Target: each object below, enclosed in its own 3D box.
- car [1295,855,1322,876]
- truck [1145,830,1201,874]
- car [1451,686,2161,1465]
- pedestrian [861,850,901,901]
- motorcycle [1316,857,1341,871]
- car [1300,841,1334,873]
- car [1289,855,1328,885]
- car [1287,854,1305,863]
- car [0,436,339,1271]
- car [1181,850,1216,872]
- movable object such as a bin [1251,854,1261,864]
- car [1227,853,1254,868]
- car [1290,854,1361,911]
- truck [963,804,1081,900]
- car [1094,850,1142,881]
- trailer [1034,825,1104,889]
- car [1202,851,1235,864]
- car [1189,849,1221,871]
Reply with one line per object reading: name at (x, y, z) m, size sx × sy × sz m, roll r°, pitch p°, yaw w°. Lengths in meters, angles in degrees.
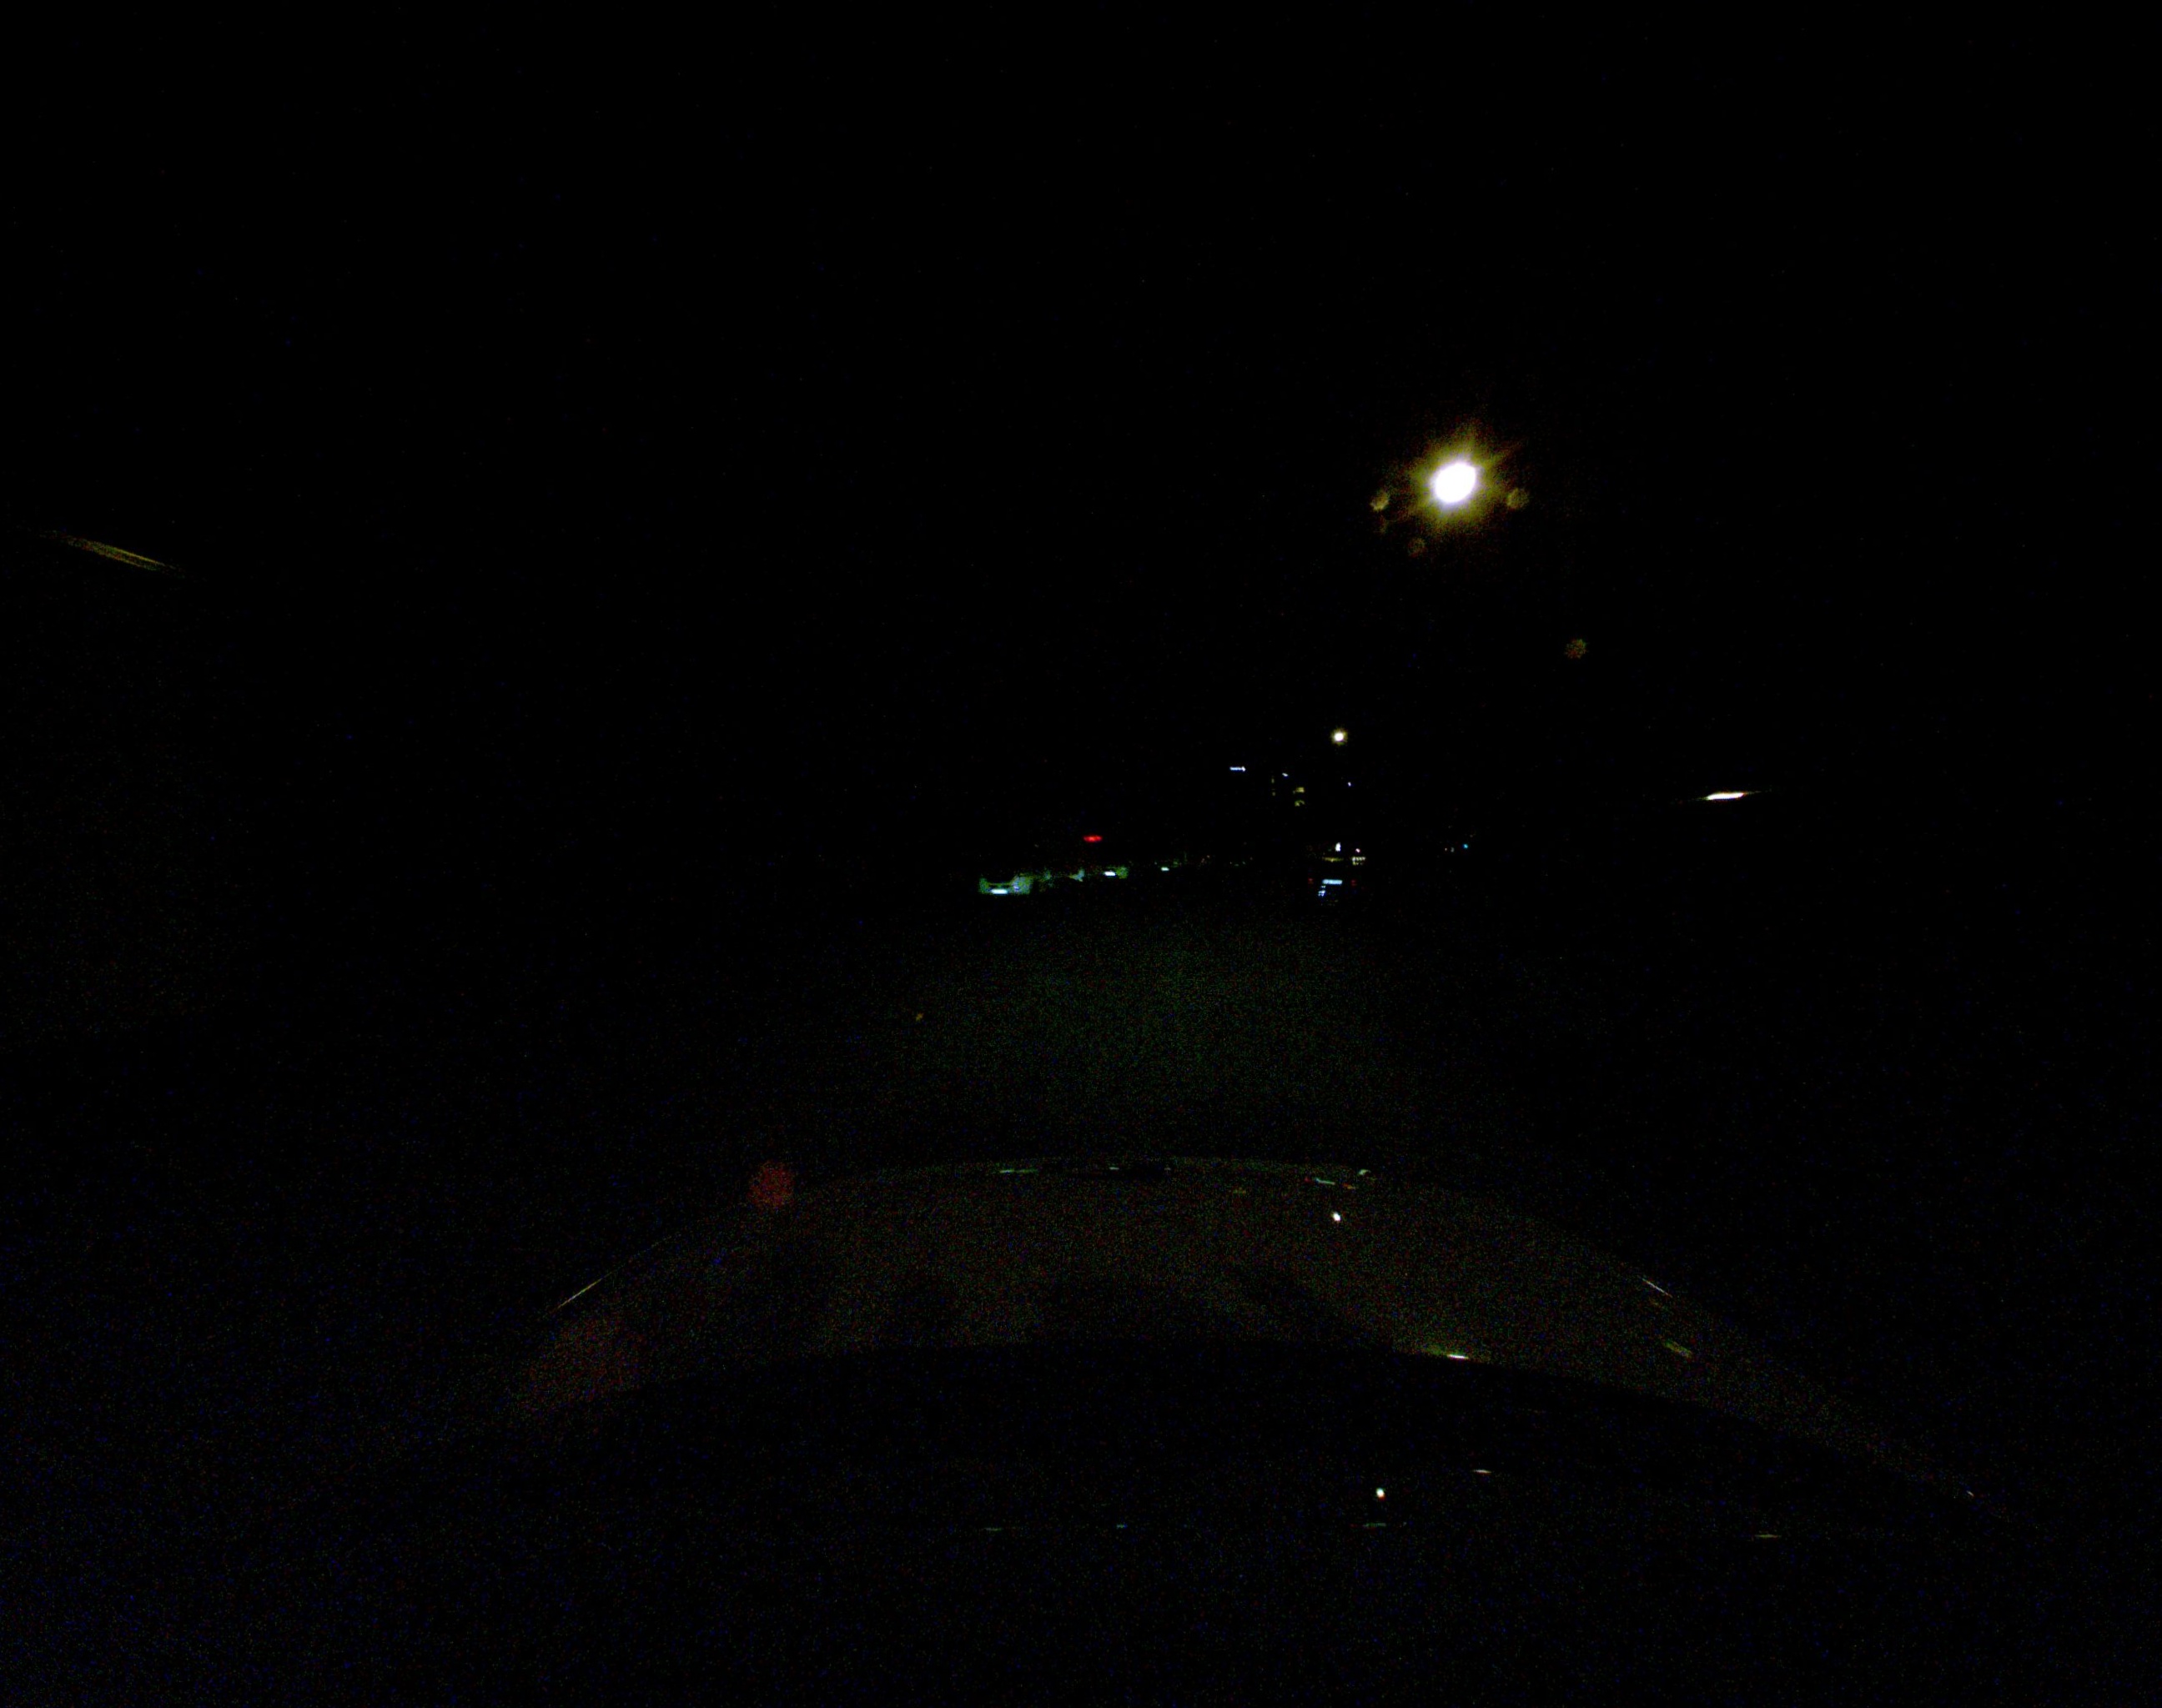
car at (17.425, 0.835, 62.181) m, size 1.696 × 1.508 × 4.663 m, roll -1°, pitch 0°, yaw 19°
truck at (7.370, -0.139, 64.476) m, size 2.521 × 3.280 × 7.351 m, roll -1°, pitch 0°, yaw 22°
car at (3.933, 0.550, 4.150) m, size 1.984 × 2.013 × 5.361 m, roll -1°, pitch 0°, yaw 4°
pedestrian at (-6.828, 0.726, 27.821) m, size 0.769 × 1.671 × 1.013 m, roll -2°, pitch -1°, yaw 38°
motorcycle at (21.954, 0.881, 72.239) m, size 0.772 × 1.183 × 2.162 m, roll 1°, pitch 0°, yaw -35°
car at (19.873, 0.224, 68.417) m, size 2.003 × 2.526 × 6.084 m, roll 0°, pitch 0°, yaw 23°
car at (11.842, 0.788, 42.565) m, size 1.699 × 1.508 × 4.013 m, roll 0°, pitch 0°, yaw 12°
car at (32.919, 0.701, 124.613) m, size 1.894 × 1.404 × 4.362 m, roll -1°, pitch 0°, yaw 24°
car at (-5.372, -0.008, 0.970) m, size 2.374 × 3.243 × 7.230 m, roll -1°, pitch 0°, yaw 0°
car at (10.241, 0.571, 70.626) m, size 1.813 × 1.816 × 4.864 m, roll -1°, pitch -1°, yaw 22°
movable object such as a bin at (24.375, 0.696, 113.582) m, size 1.154 × 1.496 × 1.071 m, roll -1°, pitch 0°, yaw 20°
car at (17.171, 0.691, 87.496) m, size 1.739 × 1.526 × 4.346 m, roll 1°, pitch -1°, yaw 25°
car at (7.262, 0.786, 24.464) m, size 1.598 × 1.512 × 3.836 m, roll 2°, pitch 0°, yaw 10°
truck at (-2.039, -0.052, 31.392) m, size 2.356 × 3.243 × 7.259 m, roll -1°, pitch 0°, yaw 14°
car at (2.275, 0.668, 48.811) m, size 1.980 × 1.772 × 4.709 m, roll -1°, pitch 0°, yaw 13°
trailer at (-0.456, 0.146, 37.739) m, size 2.190 × 2.795 × 4.632 m, roll -1°, pitch 0°, yaw 12°
car at (18.385, 0.471, 108.689) m, size 3.951 × 1.571 × 1.827 m, roll -2°, pitch -1°, yaw 23°
car at (13.889, 0.610, 91.319) m, size 1.975 × 2.321 × 4.996 m, roll -3°, pitch -1°, yaw 27°
